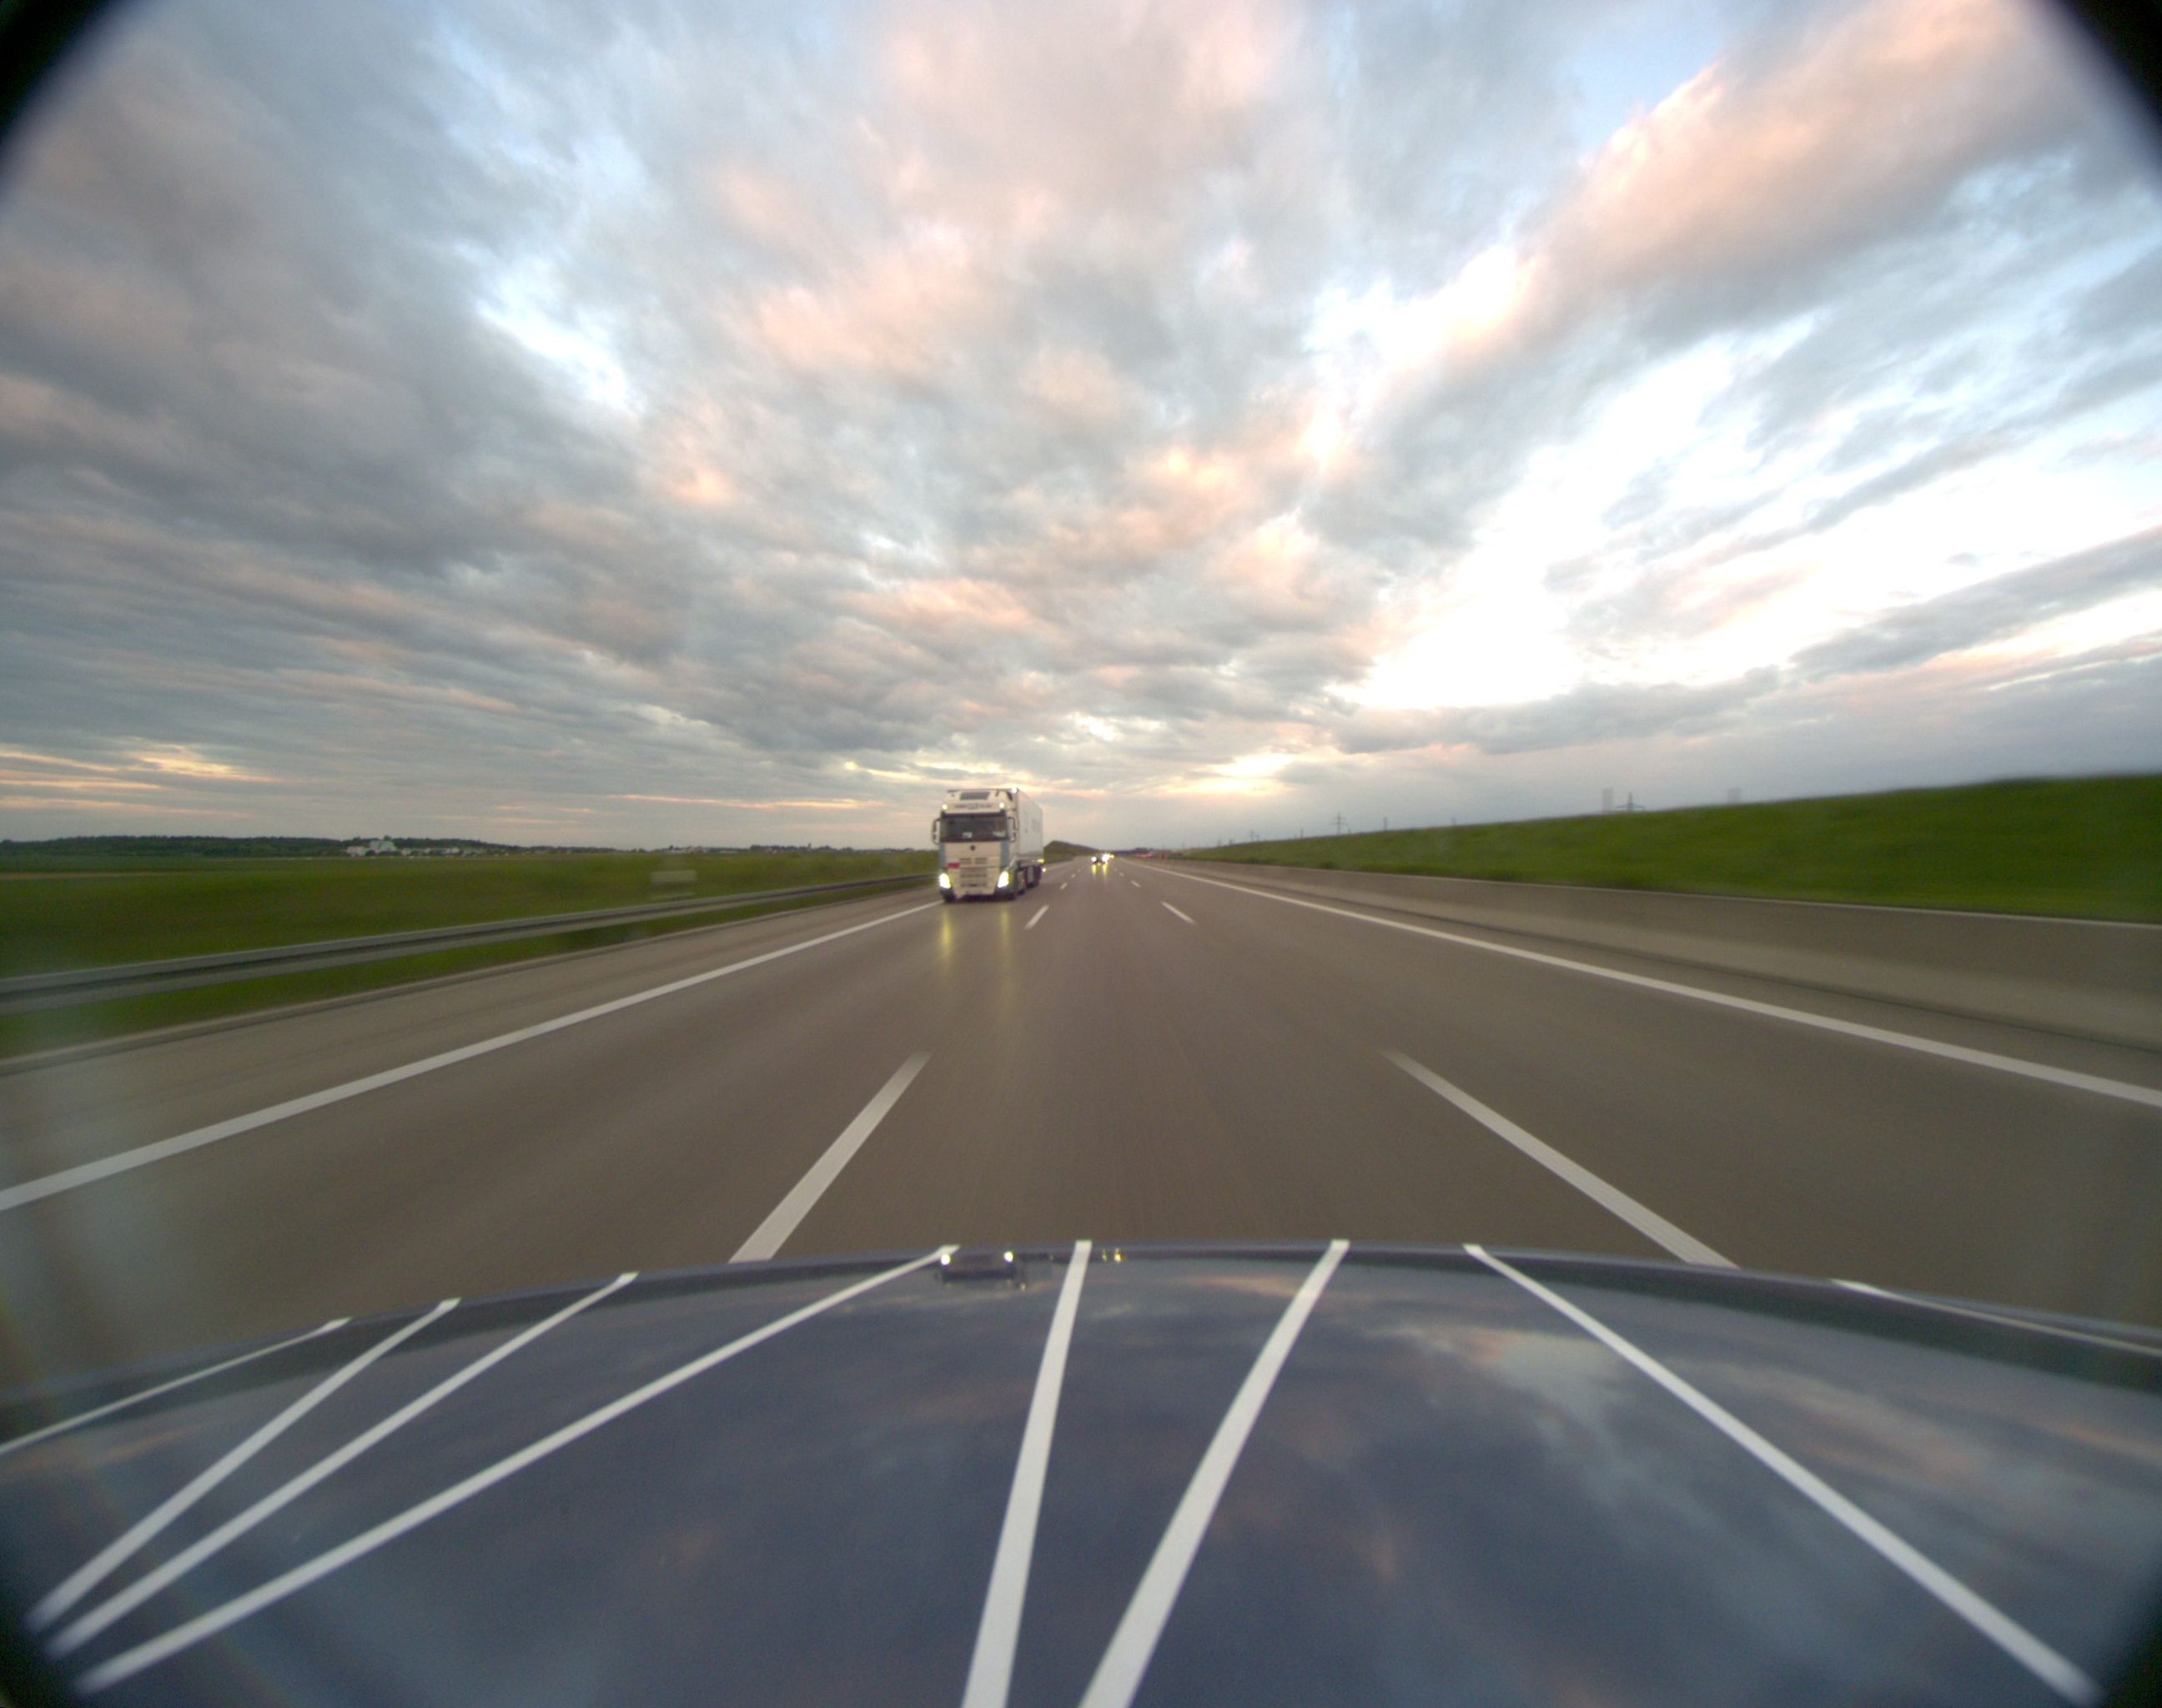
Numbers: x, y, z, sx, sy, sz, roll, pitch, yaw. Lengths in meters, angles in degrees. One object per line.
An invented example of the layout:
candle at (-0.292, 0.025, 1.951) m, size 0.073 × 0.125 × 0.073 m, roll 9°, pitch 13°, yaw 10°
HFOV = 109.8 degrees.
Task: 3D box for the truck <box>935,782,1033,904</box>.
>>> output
truck at (-3.412, -0.367, 28.119) m, size 2.596 × 3.999 × 5.860 m, roll -1°, pitch 0°, yaw 2°

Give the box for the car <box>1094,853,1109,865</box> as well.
car at (2.967, 0.713, 112.151) m, size 1.998 × 1.652 × 4.850 m, roll -2°, pitch 1°, yaw 1°

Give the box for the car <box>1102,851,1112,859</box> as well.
car at (5.584, 0.185, 164.500) m, size 1.999 × 1.652 × 3.999 m, roll -2°, pitch 1°, yaw 0°

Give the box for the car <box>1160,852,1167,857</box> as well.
car at (27.539, 0.015, 253.744) m, size 1.739 × 1.663 × 3.597 m, roll 0°, pitch 0°, yaw 2°

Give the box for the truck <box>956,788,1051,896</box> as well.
truck at (-3.184, -0.464, 35.124) m, size 2.596 × 3.999 × 12.986 m, roll -1°, pitch 0°, yaw 2°

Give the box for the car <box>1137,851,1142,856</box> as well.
car at (20.372, -0.105, 265.873) m, size 1.744 × 1.590 × 4.001 m, roll 0°, pitch 0°, yaw 3°
